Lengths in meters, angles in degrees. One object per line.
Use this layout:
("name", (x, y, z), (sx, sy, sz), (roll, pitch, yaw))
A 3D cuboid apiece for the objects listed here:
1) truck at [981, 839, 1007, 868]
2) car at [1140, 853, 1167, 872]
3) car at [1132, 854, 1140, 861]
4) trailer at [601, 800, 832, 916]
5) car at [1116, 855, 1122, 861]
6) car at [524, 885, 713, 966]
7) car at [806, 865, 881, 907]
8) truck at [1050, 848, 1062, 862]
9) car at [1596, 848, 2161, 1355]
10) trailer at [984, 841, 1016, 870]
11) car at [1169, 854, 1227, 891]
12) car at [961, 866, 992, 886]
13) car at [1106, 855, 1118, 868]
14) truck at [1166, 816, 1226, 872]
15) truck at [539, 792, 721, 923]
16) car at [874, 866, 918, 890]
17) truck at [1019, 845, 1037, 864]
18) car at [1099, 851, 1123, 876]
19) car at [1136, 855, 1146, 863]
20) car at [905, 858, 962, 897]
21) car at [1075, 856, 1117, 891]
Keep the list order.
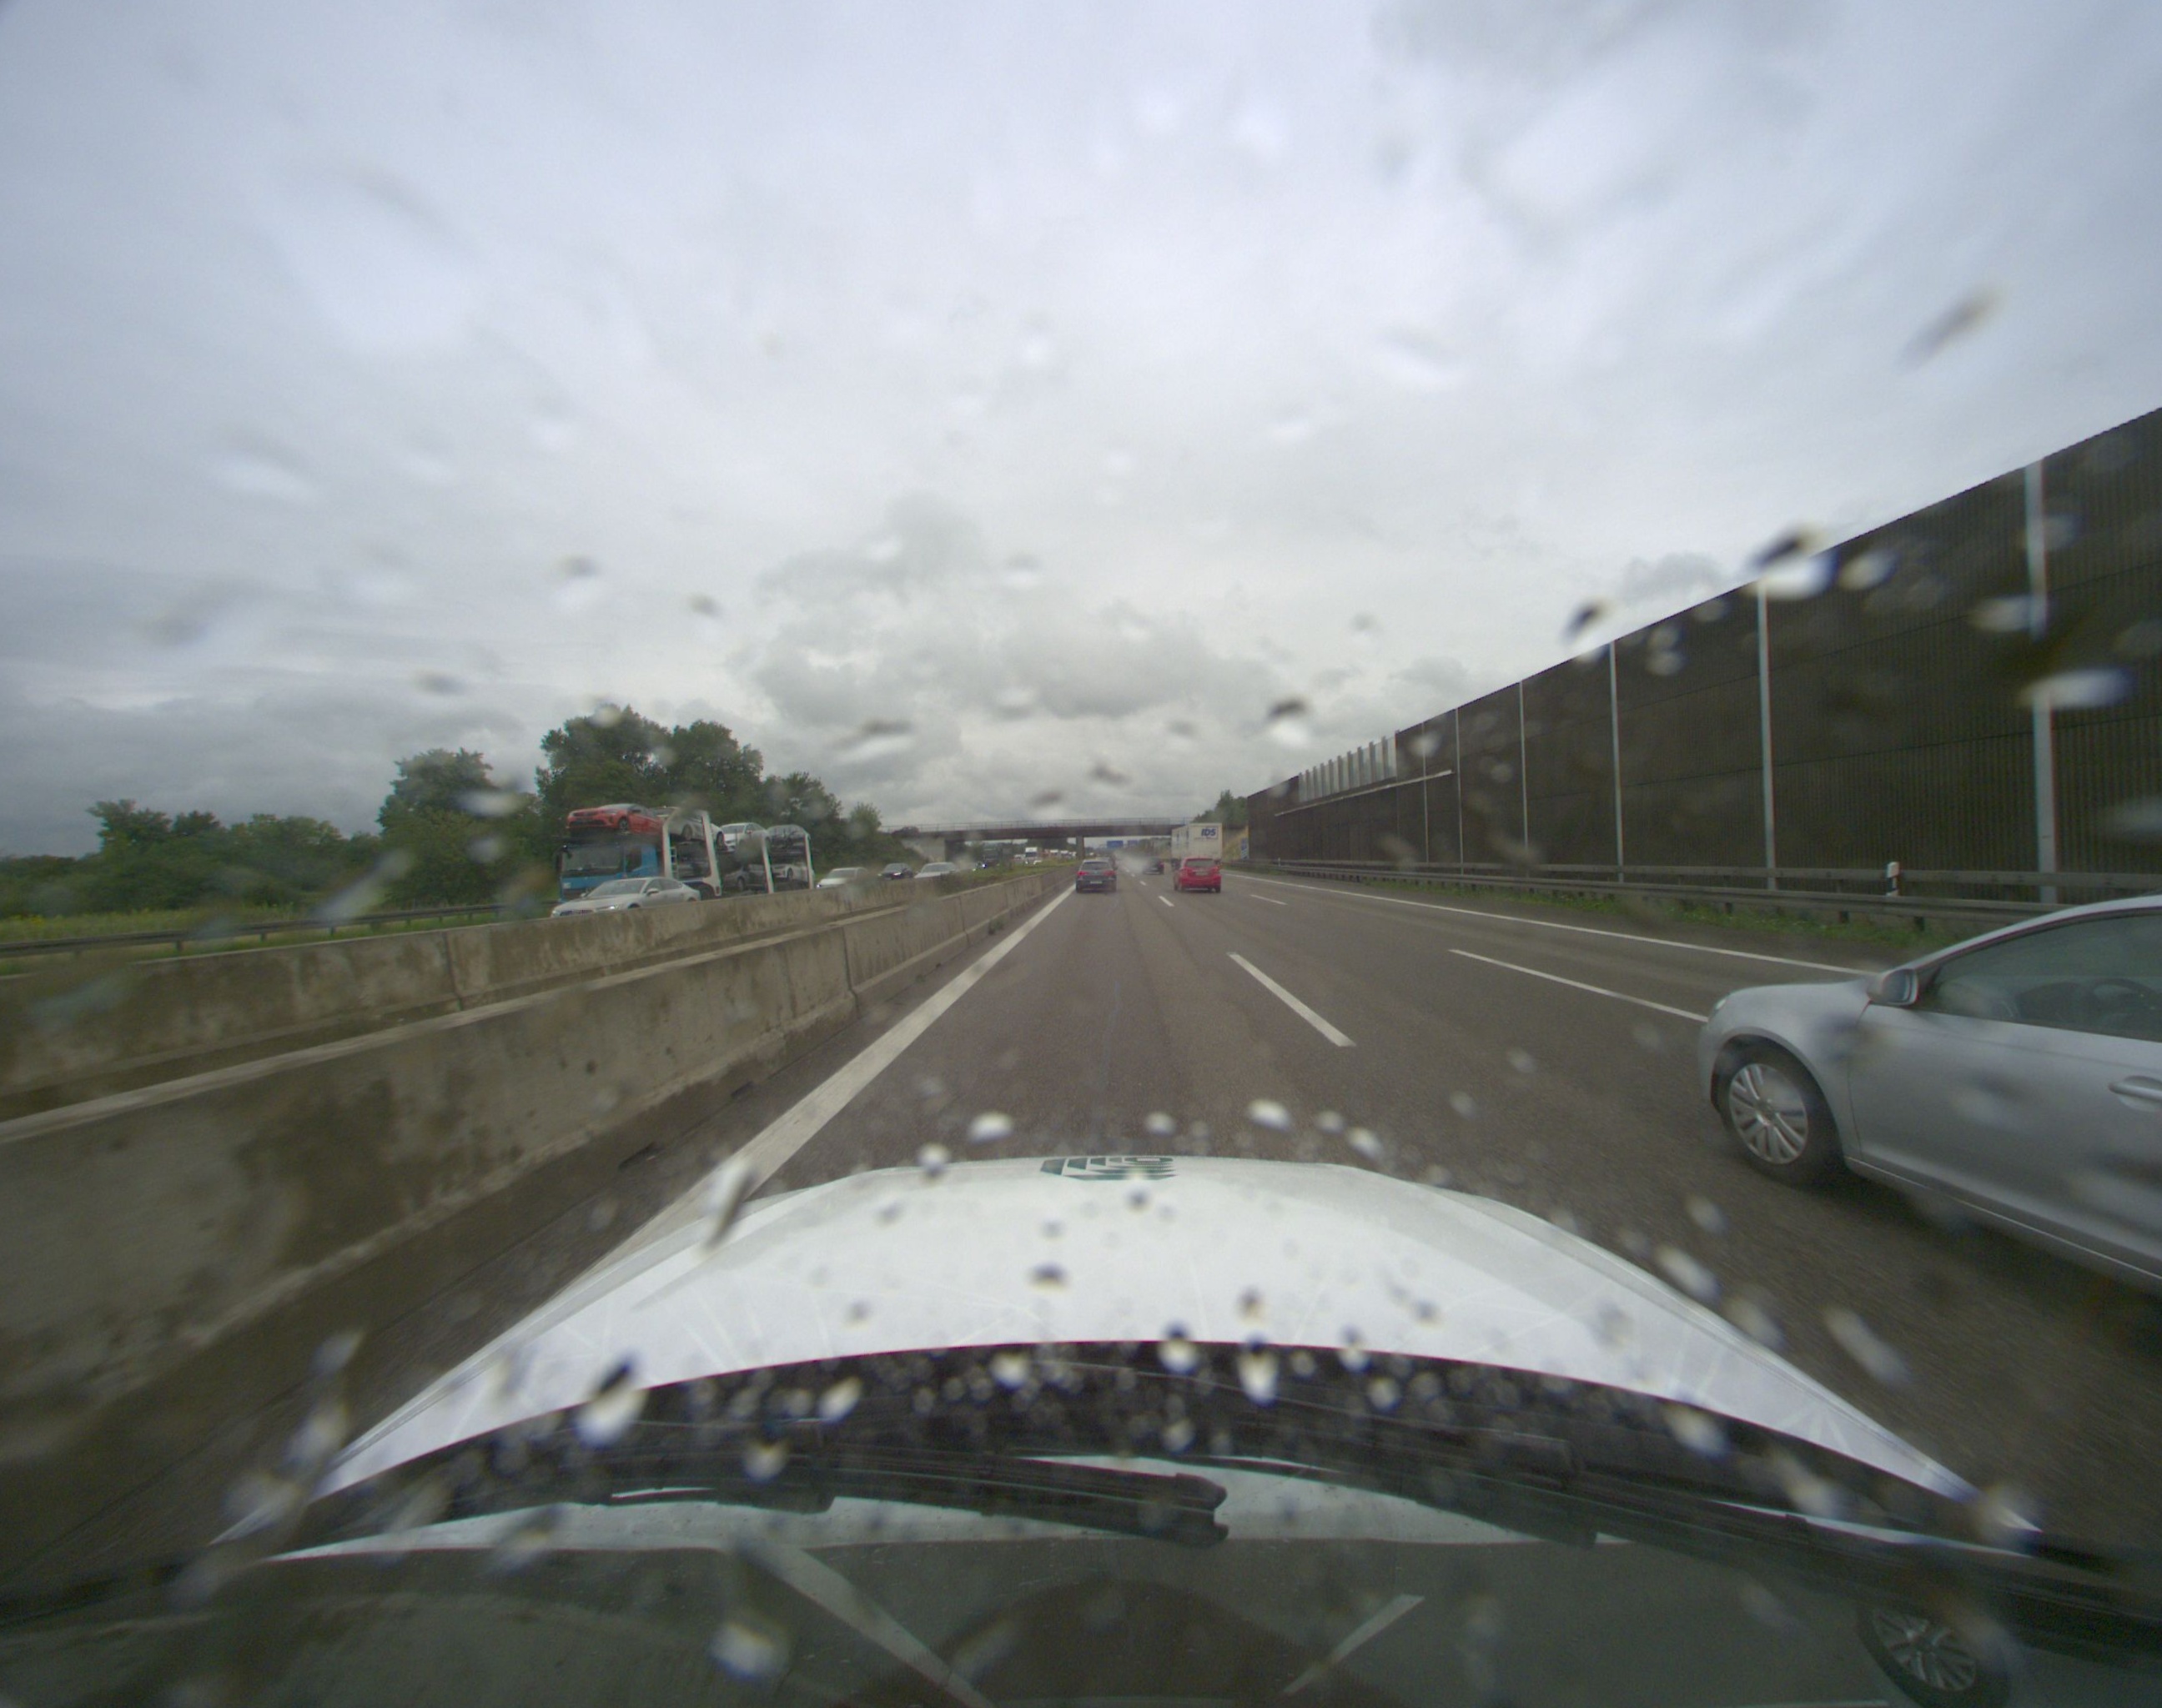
("truck", (-12.420, 0.000, 116.433), (2.747, 4.050, 6.258), (0, -1, 2))
("car", (6.052, 0.713, 68.349), (1.914, 1.522, 4.624), (-1, 0, 2))
("car", (15.007, 0.845, 222.857), (1.986, 1.812, 4.229), (-3, 0, 2))
("trailer", (-15.734, 0.222, 37.606), (2.987, 4.242, 15.715), (0, -1, 2))
("car", (11.868, 1.213, 254.099), (1.986, 2.014, 4.243), (0, -1, 2))
("car", (-12.271, 1.817, 22.136), (2.086, 1.710, 5.166), (-1, 0, 1))
("car", (-11.367, 1.497, 39.440), (1.986, 1.879, 5.034), (0, -1, 2))
("truck", (-7.718, 0.428, 251.046), (2.965, 4.319, 9.674), (0, -1, 2))
("car", (3.964, 0.706, 2.701), (1.735, 1.425, 4.518), (-1, 0, 2))
("trailer", (-12.128, 0.274, 123.254), (2.747, 4.050, 14.525), (0, -1, 2))
("car", (4.952, 0.759, 35.135), (1.884, 1.446, 4.685), (-1, 0, 1))
("car", (-9.733, 2.043, 76.309), (2.085, 1.710, 4.803), (-1, 0, 3))
("car", (4.737, 1.141, 125.003), (1.699, 1.796, 3.854), (-3, 0, 0))
("truck", (9.873, -0.663, 72.464), (3.271, 4.295, 19.038), (0, -1, 2))
("truck", (-16.017, 0.143, 29.529), (2.946, 4.242, 6.236), (0, -1, 1))
("car", (-14.679, 1.858, 64.791), (2.085, 1.710, 4.965), (-1, 0, 3))
("truck", (-11.438, 0.186, 175.751), (3.260, 4.045, 5.295), (0, -1, 2))
("car", (2.388, 0.759, 64.856), (1.819, 1.850, 4.002), (-2, 0, 2))
("car", (12.442, 1.082, 170.142), (1.839, 1.687, 4.000), (0, -1, 1))
("car", (-7.416, 1.167, 41.398), (1.920, 1.879, 4.592), (0, -1, 2))
("car", (0.679, 0.832, 35.893), (1.762, 1.467, 4.001), (0, -1, 1))
